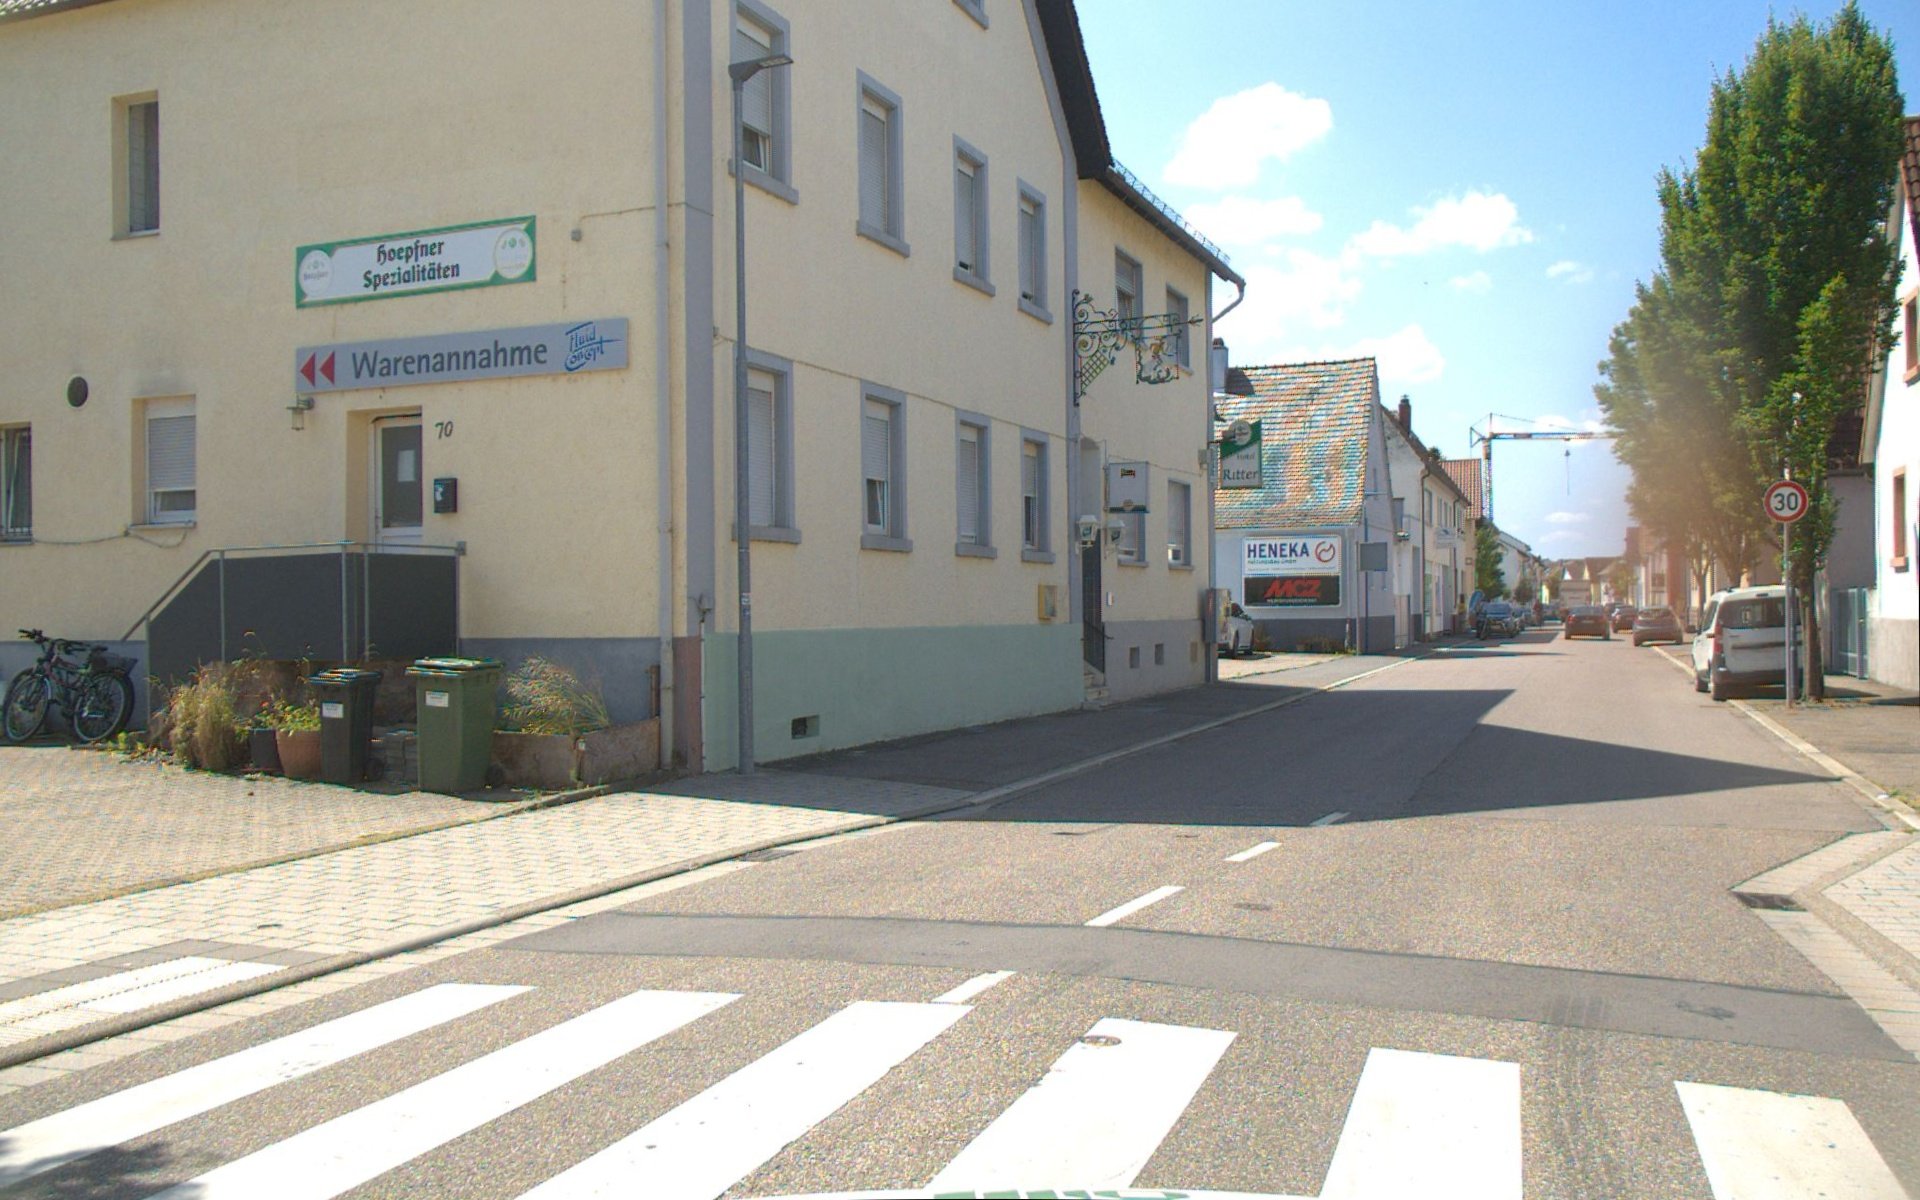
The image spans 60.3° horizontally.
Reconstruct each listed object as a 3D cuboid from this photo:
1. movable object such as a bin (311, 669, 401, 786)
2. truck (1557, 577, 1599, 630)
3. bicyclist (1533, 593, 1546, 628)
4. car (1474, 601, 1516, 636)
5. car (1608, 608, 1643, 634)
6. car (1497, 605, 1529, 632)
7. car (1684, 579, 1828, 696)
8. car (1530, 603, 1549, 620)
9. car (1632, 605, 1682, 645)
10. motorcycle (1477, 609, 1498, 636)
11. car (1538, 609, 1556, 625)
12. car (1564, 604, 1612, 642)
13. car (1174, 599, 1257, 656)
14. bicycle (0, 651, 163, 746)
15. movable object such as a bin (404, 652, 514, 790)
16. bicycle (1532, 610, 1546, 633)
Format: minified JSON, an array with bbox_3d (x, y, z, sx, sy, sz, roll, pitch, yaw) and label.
[{"bbox_3d":[-5.106,1.068,13.997,0.469,0.945,0.547,-1,-1,23],"label":"movable object such as a bin"},{"bbox_3d":[53.149,0.346,142.148,3.081,4.325,9.300,1,0,22],"label":"truck"},{"bbox_3d":[35.503,0.656,101.374,0.725,2.095,0.844,1,-1,20],"label":"bicyclist"},{"bbox_3d":[25.483,0.847,78.719,1.772,1.617,4.001,0,0,20],"label":"car"},{"bbox_3d":[36.008,1.133,89.576,1.684,1.379,4.157,0,0,21],"label":"car"},{"bbox_3d":[34.101,1.124,102.007,1.772,1.617,4.001,0,0,20],"label":"car"},{"bbox_3d":[13.585,0.610,28.427,1.683,1.821,4.145,-2,-1,19],"label":"car"},{"bbox_3d":[58.758,1.151,167.655,1.772,1.617,4.001,0,0,20],"label":"car"},{"bbox_3d":[26.482,0.917,62.912,1.684,1.487,4.156,0,0,22],"label":"car"},{"bbox_3d":[23.953,1.023,75.119,0.828,1.190,2.470,1,0,19],"label":"motorcycle"},{"bbox_3d":[61.621,1.784,173.647,1.772,1.617,4.001,0,0,20],"label":"car"},{"bbox_3d":[27.468,0.976,72.264,1.863,1.591,4.476,0,0,22],"label":"car"},{"bbox_3d":[7.552,0.780,48.605,1.684,1.583,4.200,1,0,19],"label":"car"},{"bbox_3d":[-9.248,1.011,17.192,2.127,0.929,0.542,-1,-1,26],"label":"bicycle"},{"bbox_3d":[-4.154,0.988,13.728,0.587,1.097,0.658,-1,-1,23],"label":"movable object such as a bin"},{"bbox_3d":[35.458,1.306,101.294,0.735,1.331,2.686,1,0,20],"label":"bicycle"}]
